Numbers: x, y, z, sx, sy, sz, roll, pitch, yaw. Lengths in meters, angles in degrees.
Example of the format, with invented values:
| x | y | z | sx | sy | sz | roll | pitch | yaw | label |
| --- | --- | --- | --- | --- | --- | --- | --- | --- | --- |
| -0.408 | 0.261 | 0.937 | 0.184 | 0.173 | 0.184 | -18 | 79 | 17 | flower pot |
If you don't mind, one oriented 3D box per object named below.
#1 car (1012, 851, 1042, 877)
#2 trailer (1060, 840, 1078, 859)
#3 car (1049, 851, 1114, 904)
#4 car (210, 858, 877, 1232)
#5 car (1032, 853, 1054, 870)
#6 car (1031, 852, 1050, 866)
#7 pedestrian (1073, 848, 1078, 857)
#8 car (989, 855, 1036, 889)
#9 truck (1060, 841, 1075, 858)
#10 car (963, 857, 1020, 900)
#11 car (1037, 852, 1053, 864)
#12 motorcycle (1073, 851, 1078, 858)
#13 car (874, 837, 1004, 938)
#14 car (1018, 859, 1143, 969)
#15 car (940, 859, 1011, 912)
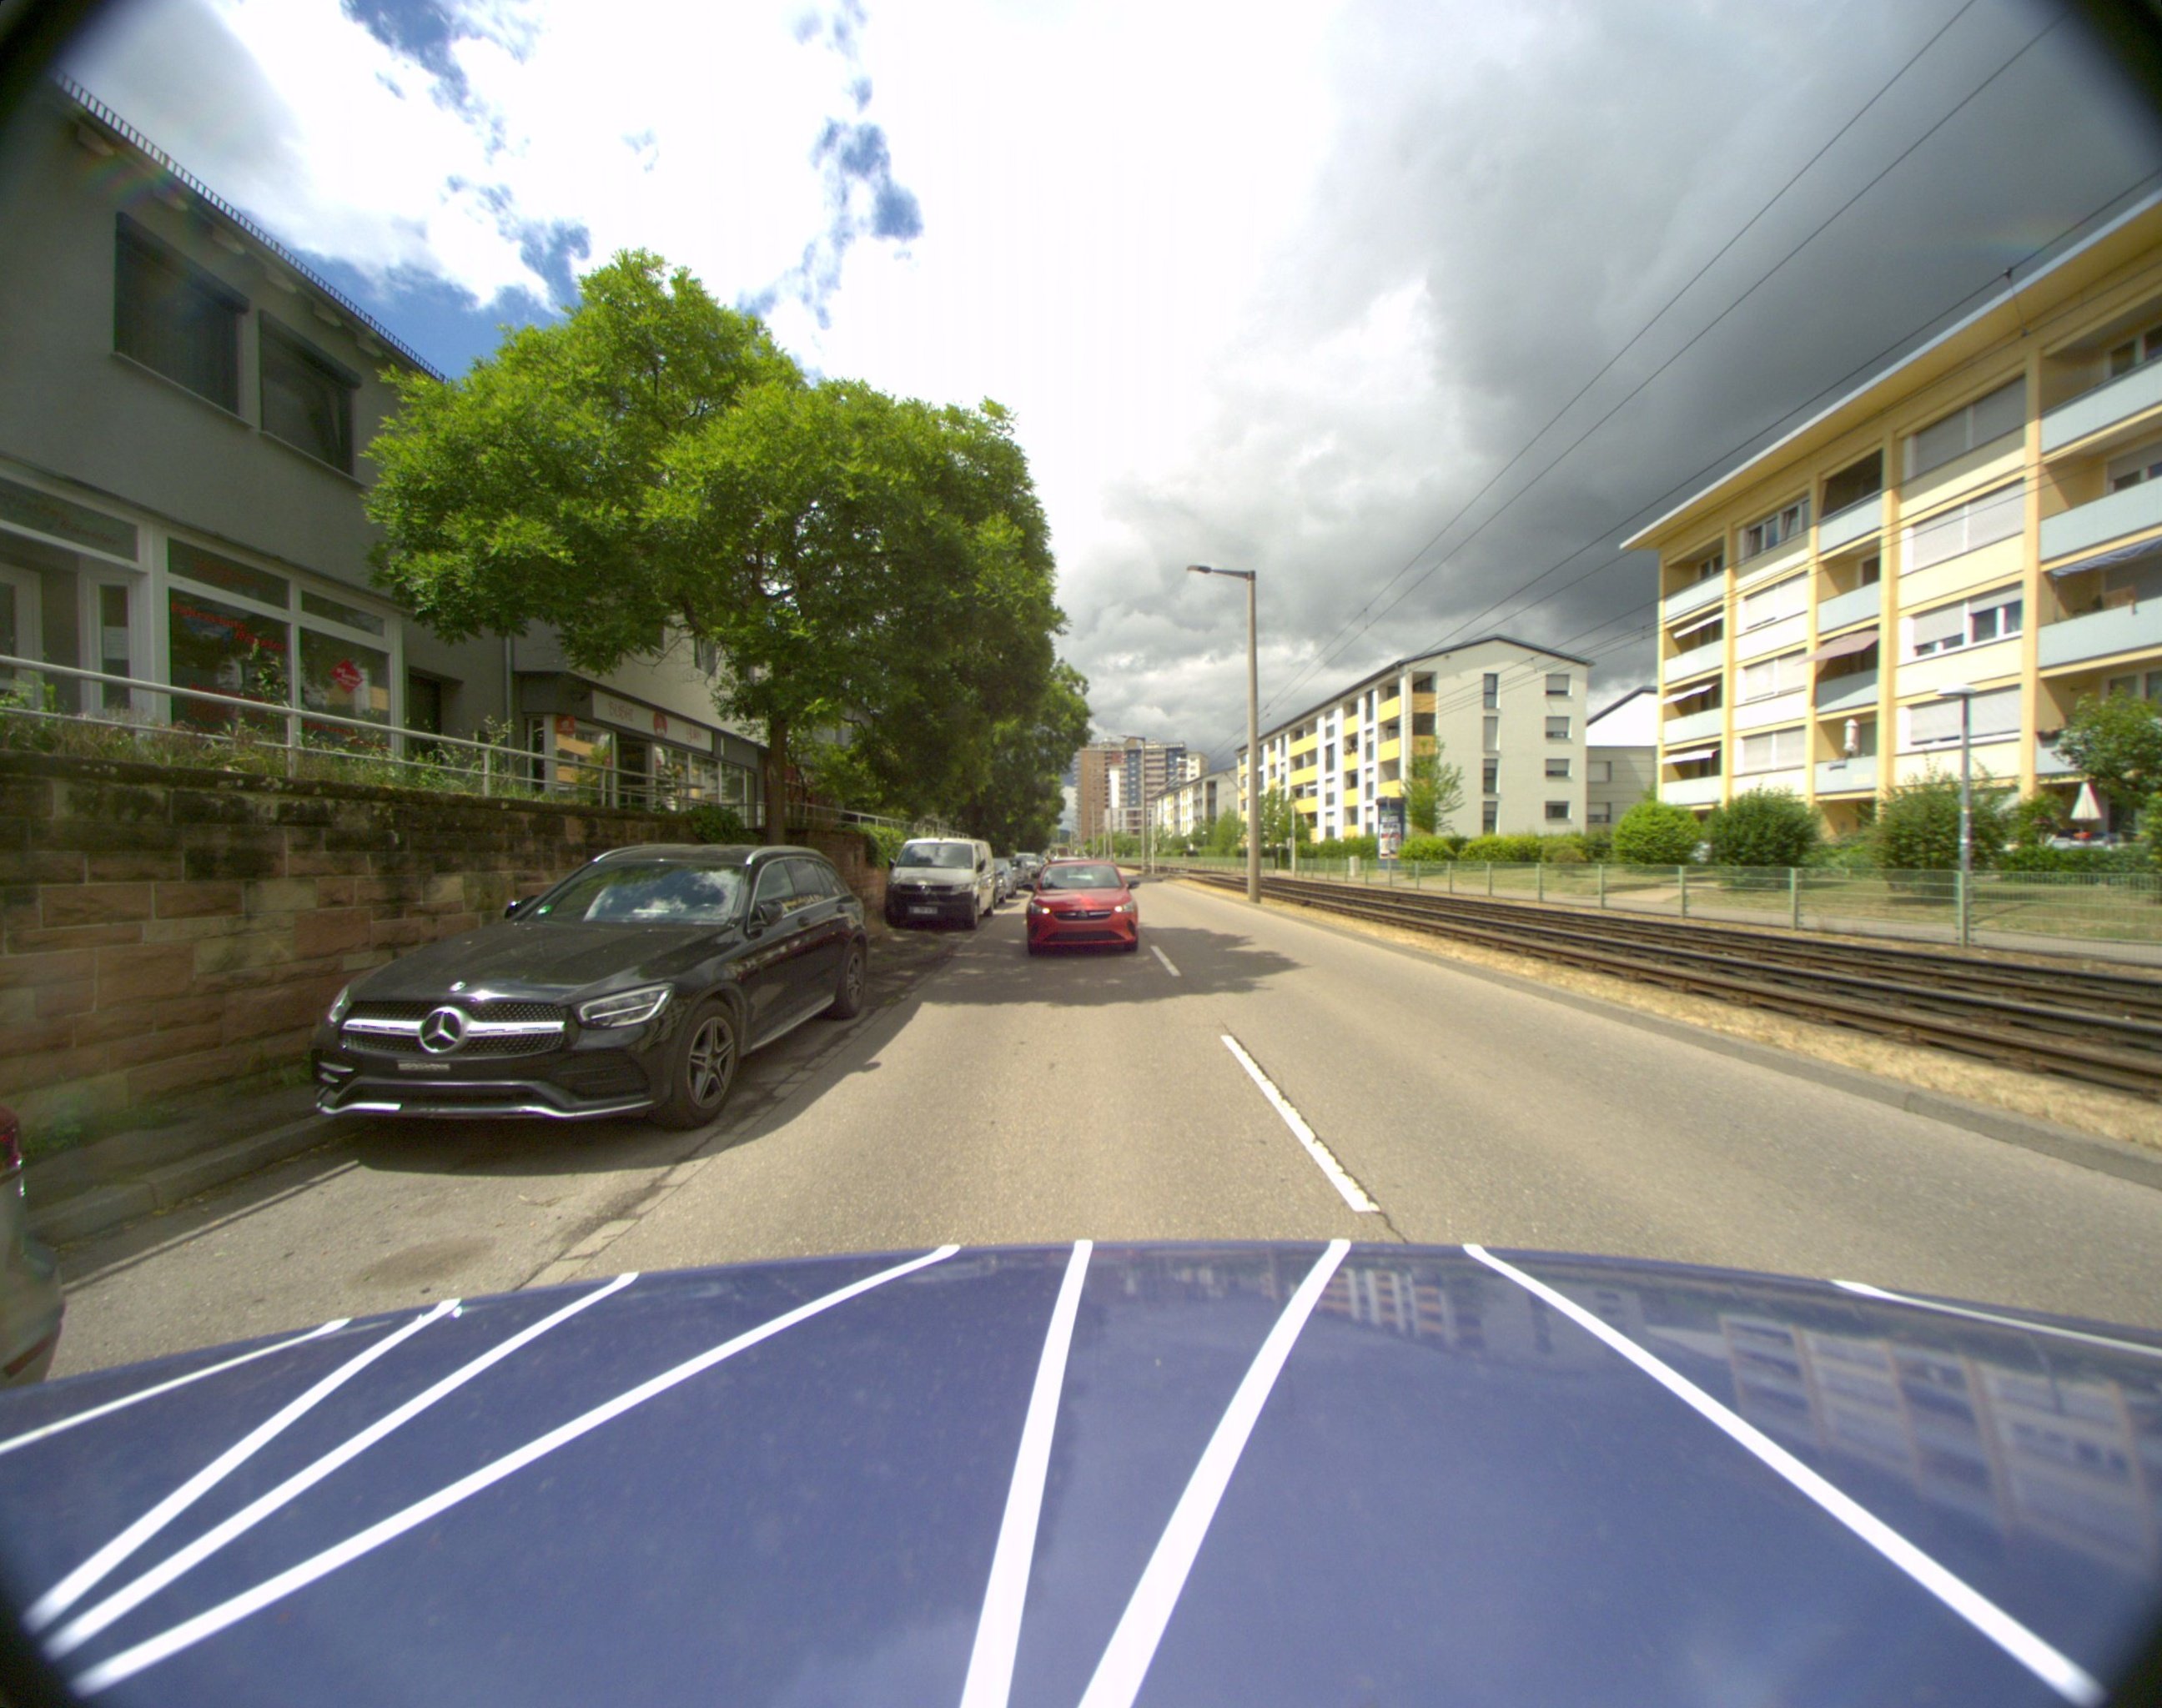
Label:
| x | y | z | sx | sy | sz | roll | pitch | yaw | label |
| --- | --- | --- | --- | --- | --- | --- | --- | --- | --- |
| -3.575 | 0.624 | 50.848 | 1.819 | 1.644 | 4.146 | -1 | 0 | -2 | car |
| -2.473 | -0.965 | 151.273 | 2.876 | 3.429 | 14.610 | -3 | 0 | -3 | trailer |
| -0.067 | 0.721 | 25.424 | 1.927 | 1.543 | 3.999 | -3 | 1 | -2 | car |
| -3.010 | 0.876 | 5.636 | 1.794 | 1.608 | 4.447 | 1 | 1 | 0 | car |
| -3.381 | 0.629 | 68.275 | 1.785 | 1.420 | 4.147 | -1 | 0 | 0 | car |
| -4.503 | 0.555 | 84.594 | 1.785 | 1.420 | 4.147 | -1 | 0 | 0 | car |
| -0.869 | -0.219 | 129.144 | 0.737 | 1.408 | 0.927 | -3 | 1 | -1 | pedestrian |
| -3.137 | 0.812 | 35.505 | 1.785 | 1.420 | 4.147 | -1 | 0 | 0 | car |
| -2.912 | -1.015 | 159.598 | 2.853 | 3.429 | 4.413 | -3 | 1 | -4 | truck |
| -3.273 | 0.853 | 28.593 | 1.785 | 1.420 | 4.144 | 1 | 0 | -2 | car |
| -4.322 | 0.482 | 91.706 | 1.785 | 1.420 | 4.147 | -1 | 0 | 0 | car |
| -0.856 | 0.136 | 129.117 | 0.783 | 1.181 | 1.869 | -2 | 1 | -1 | motorcycle |
| -3.057 | 0.655 | 17.508 | 1.978 | 1.958 | 5.012 | -1 | 0 | 0 | car |
| 0.030 | 0.879 | 12.913 | 1.723 | 1.434 | 4.000 | -3 | 0 | 1 | car |
| -3.138 | 0.886 | 23.232 | 1.578 | 1.420 | 3.734 | -1 | 0 | 0 | car |
